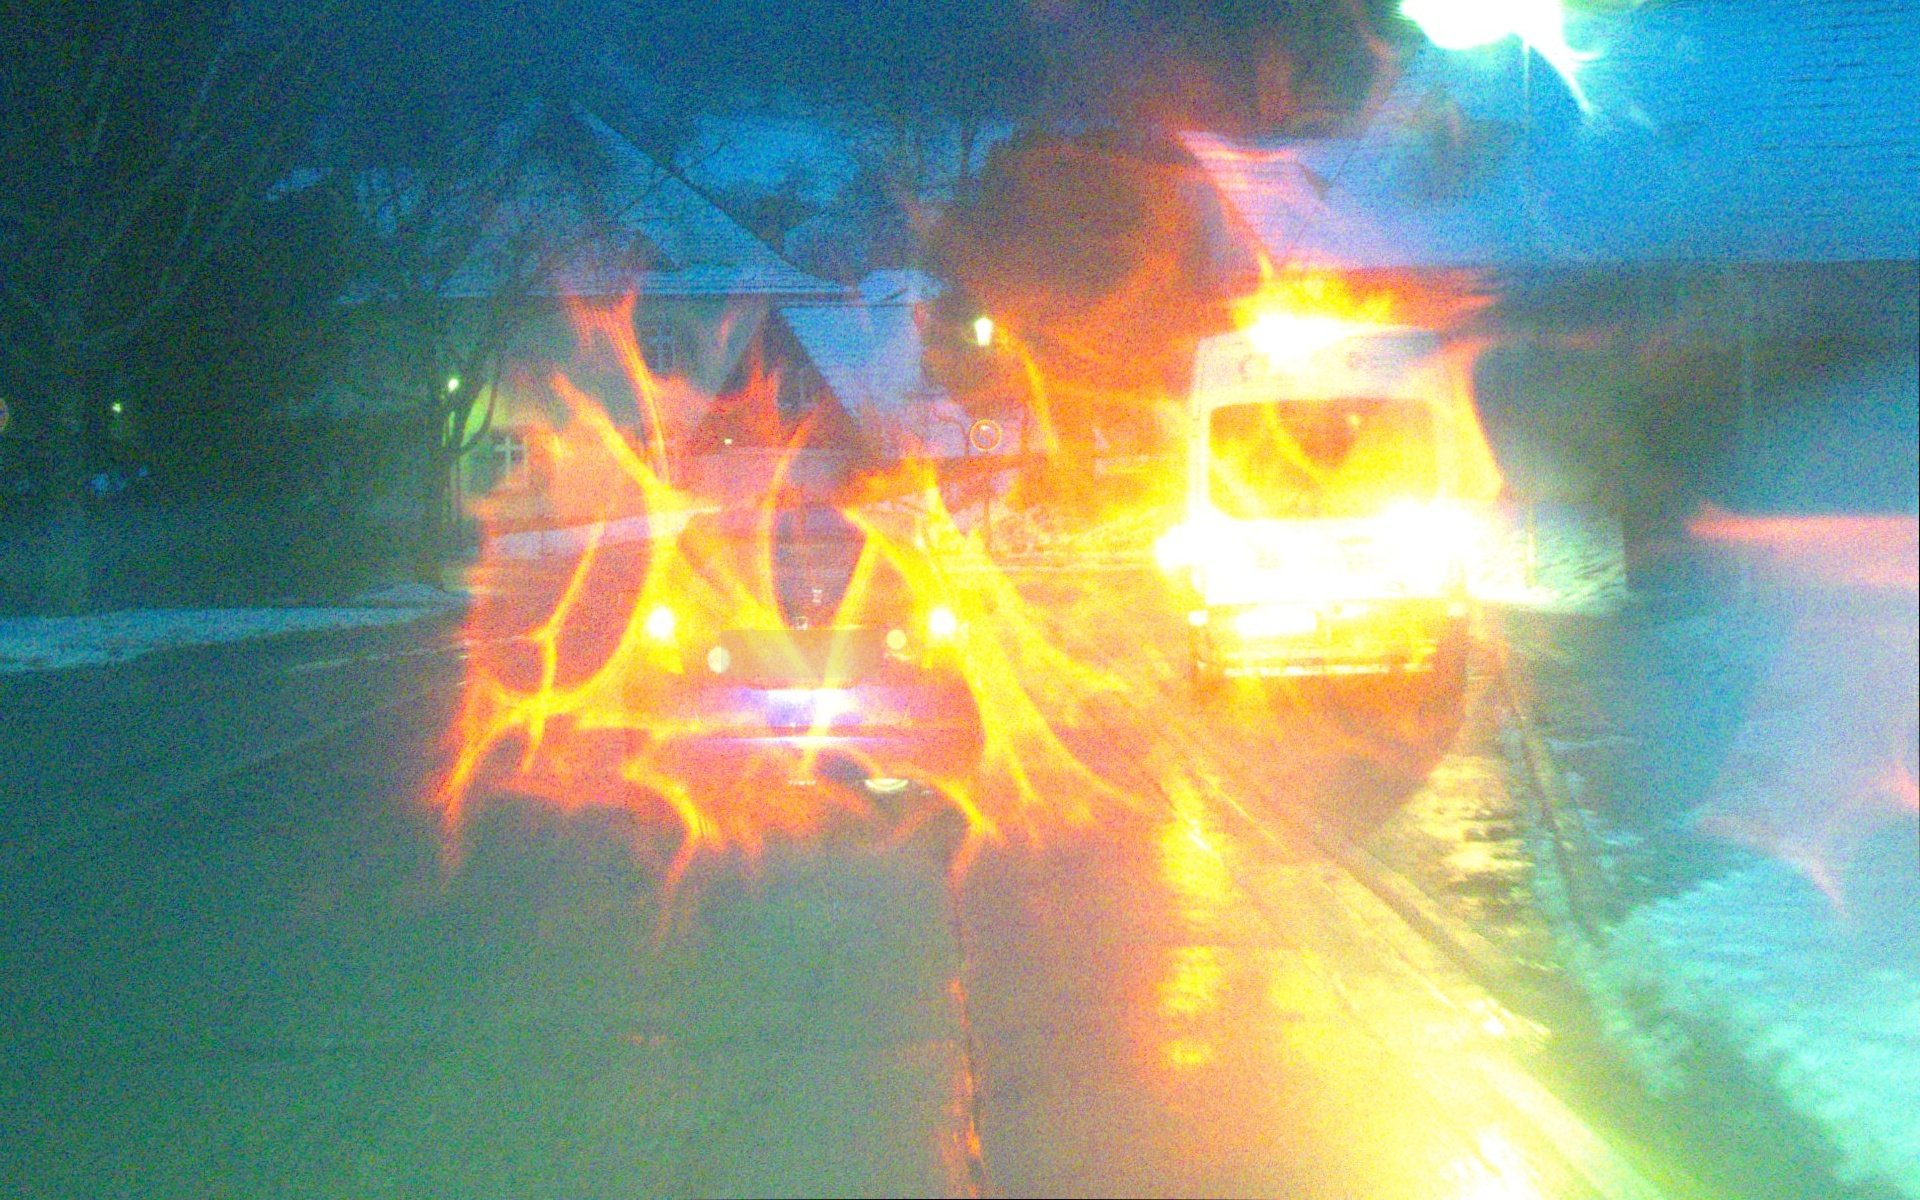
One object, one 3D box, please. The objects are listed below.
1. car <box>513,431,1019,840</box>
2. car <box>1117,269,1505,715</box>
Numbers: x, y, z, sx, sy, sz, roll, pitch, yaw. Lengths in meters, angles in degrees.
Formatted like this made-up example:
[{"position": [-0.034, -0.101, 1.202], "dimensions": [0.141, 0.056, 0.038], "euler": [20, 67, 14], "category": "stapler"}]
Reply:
[{"position": [-0.935, 0.104, 18.000], "dimensions": [2.274, 1.834, 5.007], "euler": [0, 1, -1], "category": "car"}, {"position": [2.507, -0.800, 26.038], "dimensions": [2.435, 3.008, 5.325], "euler": [0, 1, 1], "category": "car"}]
